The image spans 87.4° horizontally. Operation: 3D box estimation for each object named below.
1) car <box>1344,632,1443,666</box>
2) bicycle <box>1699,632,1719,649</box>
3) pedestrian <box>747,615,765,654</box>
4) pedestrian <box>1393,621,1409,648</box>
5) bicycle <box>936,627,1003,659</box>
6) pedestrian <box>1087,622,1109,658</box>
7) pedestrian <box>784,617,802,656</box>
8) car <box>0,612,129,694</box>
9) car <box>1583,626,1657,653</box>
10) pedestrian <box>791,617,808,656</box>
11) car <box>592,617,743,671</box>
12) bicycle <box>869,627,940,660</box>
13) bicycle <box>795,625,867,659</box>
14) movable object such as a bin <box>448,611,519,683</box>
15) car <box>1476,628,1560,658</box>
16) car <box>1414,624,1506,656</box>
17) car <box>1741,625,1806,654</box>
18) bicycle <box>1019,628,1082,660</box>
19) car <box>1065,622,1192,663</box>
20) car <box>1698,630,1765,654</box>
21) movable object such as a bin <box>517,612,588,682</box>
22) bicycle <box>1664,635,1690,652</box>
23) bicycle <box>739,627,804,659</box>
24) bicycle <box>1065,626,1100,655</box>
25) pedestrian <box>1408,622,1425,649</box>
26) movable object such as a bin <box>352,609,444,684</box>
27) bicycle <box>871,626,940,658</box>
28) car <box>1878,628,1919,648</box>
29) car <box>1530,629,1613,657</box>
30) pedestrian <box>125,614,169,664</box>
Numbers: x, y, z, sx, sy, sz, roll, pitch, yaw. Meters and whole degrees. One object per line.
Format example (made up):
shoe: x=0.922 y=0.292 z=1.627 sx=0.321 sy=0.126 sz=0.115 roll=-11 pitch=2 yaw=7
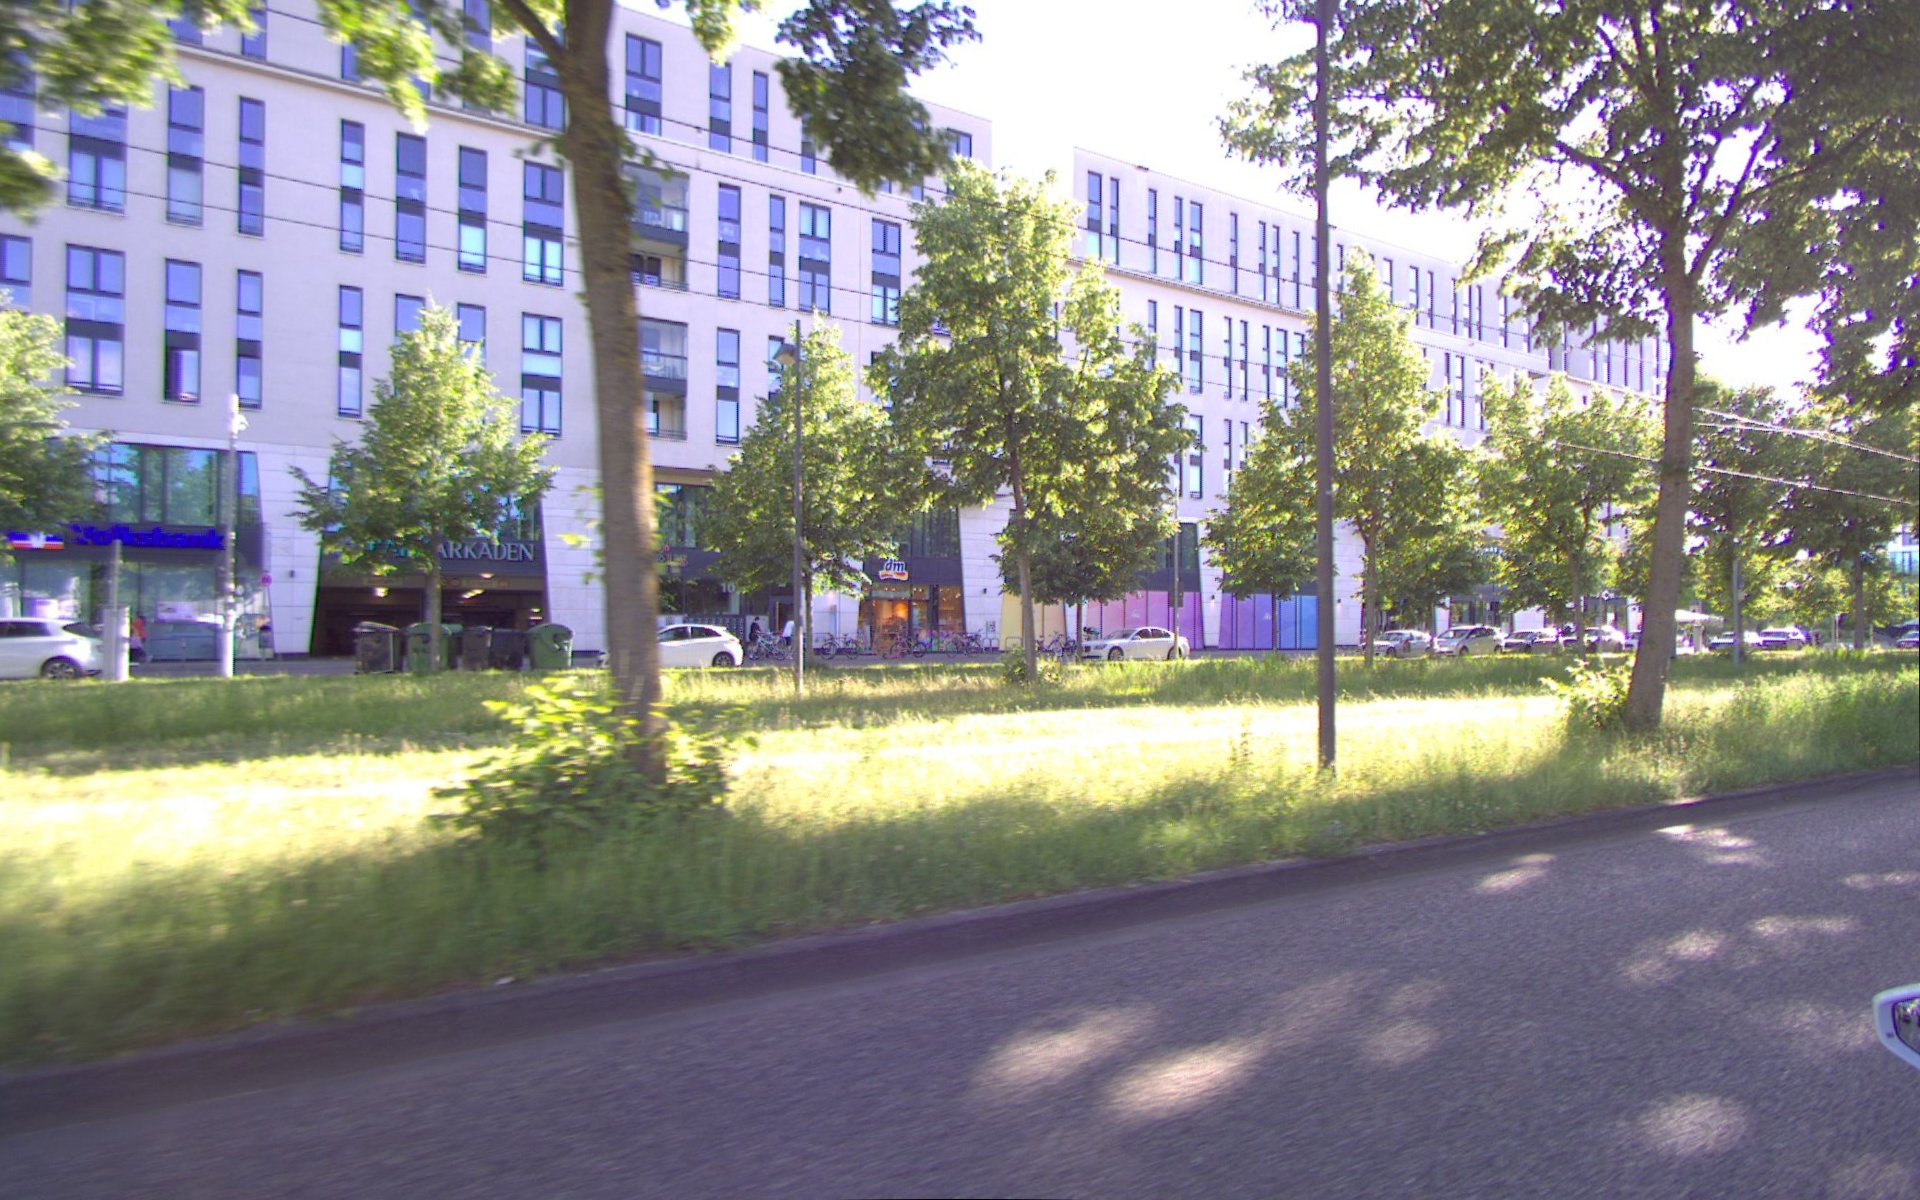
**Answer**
car: x=20.578 y=2.305 z=47.663 sx=4.727 sy=1.460 sz=1.982 roll=2 pitch=0 yaw=-33
bicycle: x=58.298 y=3.159 z=78.179 sx=1.818 sy=1.269 sz=0.585 roll=2 pitch=0 yaw=-30
pedestrian: x=-8.324 y=1.412 z=40.938 sx=0.511 sy=1.570 sz=0.502 roll=2 pitch=0 yaw=12
pedestrian: x=28.019 y=2.214 z=63.860 sx=0.713 sy=1.673 sz=0.631 roll=2 pitch=0 yaw=-37
bicycle: x=0.410 y=1.881 z=43.892 sx=2.732 sy=1.298 sz=0.945 roll=2 pitch=0 yaw=-23
pedestrian: x=6.463 y=1.882 z=47.046 sx=0.712 sy=1.673 sz=0.632 roll=2 pitch=0 yaw=-32
pedestrian: x=-6.714 y=1.464 z=40.401 sx=0.511 sy=1.570 sz=0.502 roll=2 pitch=0 yaw=12
car: x=-21.875 y=1.173 z=22.852 sx=4.291 sy=1.752 sz=1.982 roll=2 pitch=0 yaw=-32
car: x=38.606 y=2.327 z=58.711 sx=4.407 sy=1.460 sz=1.982 roll=2 pitch=0 yaw=-33
pedestrian: x=-6.552 y=1.470 z=40.973 sx=0.511 sy=1.570 sz=0.502 roll=2 pitch=0 yaw=12
car: x=-8.793 y=1.310 z=30.250 sx=3.976 sy=1.460 sz=1.982 roll=2 pitch=0 yaw=-32
bicycle: x=-2.292 y=1.792 z=41.597 sx=2.732 sy=1.298 sz=0.945 roll=2 pitch=0 yaw=-23
bicycle: x=-5.207 y=1.712 z=40.666 sx=2.732 sy=1.298 sz=0.945 roll=2 pitch=0 yaw=-23
movable object such as a bin: x=-13.046 y=1.255 z=27.443 sx=1.538 sy=1.818 sz=1.960 roll=2 pitch=0 yaw=-31
car: x=29.492 y=2.258 z=53.079 sx=4.407 sy=1.460 sz=1.982 roll=2 pitch=0 yaw=-33
car: x=24.918 y=1.984 z=50.021 sx=4.404 sy=1.460 sz=1.984 roll=2 pitch=0 yaw=-30
car: x=55.093 y=2.692 z=68.018 sx=4.724 sy=1.795 sz=1.982 roll=2 pitch=0 yaw=-32
bicycle: x=4.153 y=2.019 z=46.223 sx=2.723 sy=1.298 sz=0.948 roll=2 pitch=0 yaw=32
car: x=6.675 y=1.659 z=39.580 sx=4.872 sy=1.460 sz=1.982 roll=2 pitch=0 yaw=-33
car: x=49.703 y=2.714 z=64.678 sx=4.215 sy=1.460 sz=1.949 roll=2 pitch=0 yaw=-30
movable object such as a bin: x=-11.527 y=1.305 z=28.374 sx=1.538 sy=1.818 sz=1.960 roll=2 pitch=0 yaw=-31
bicycle: x=54.015 y=3.283 z=75.655 sx=2.215 sy=1.214 sz=0.729 roll=2 pitch=0 yaw=-31
bicycle: x=-7.374 y=1.677 z=39.379 sx=2.357 sy=1.152 sz=0.859 roll=2 pitch=0 yaw=-40
bicycle: x=5.752 y=1.894 z=47.069 sx=1.590 sy=1.298 sz=0.594 roll=2 pitch=0 yaw=-32
pedestrian: x=28.787 y=2.239 z=63.377 sx=0.712 sy=1.673 sz=0.632 roll=2 pitch=0 yaw=-32
movable object such as a bin: x=-14.736 y=1.199 z=26.303 sx=1.988 sy=1.818 sz=1.959 roll=2 pitch=0 yaw=-32
bicycle: x=-2.314 y=1.801 z=42.804 sx=2.732 sy=1.298 sz=0.945 roll=2 pitch=0 yaw=-23
car: x=76.147 y=3.083 z=81.019 sx=4.558 sy=1.454 sz=1.870 roll=2 pitch=0 yaw=-31
car: x=34.275 y=2.416 z=56.275 sx=4.883 sy=1.460 sz=1.982 roll=2 pitch=0 yaw=-33
pedestrian: x=-25.343 y=1.215 z=31.321 sx=1.018 sy=1.487 sz=0.939 roll=2 pitch=0 yaw=-39
